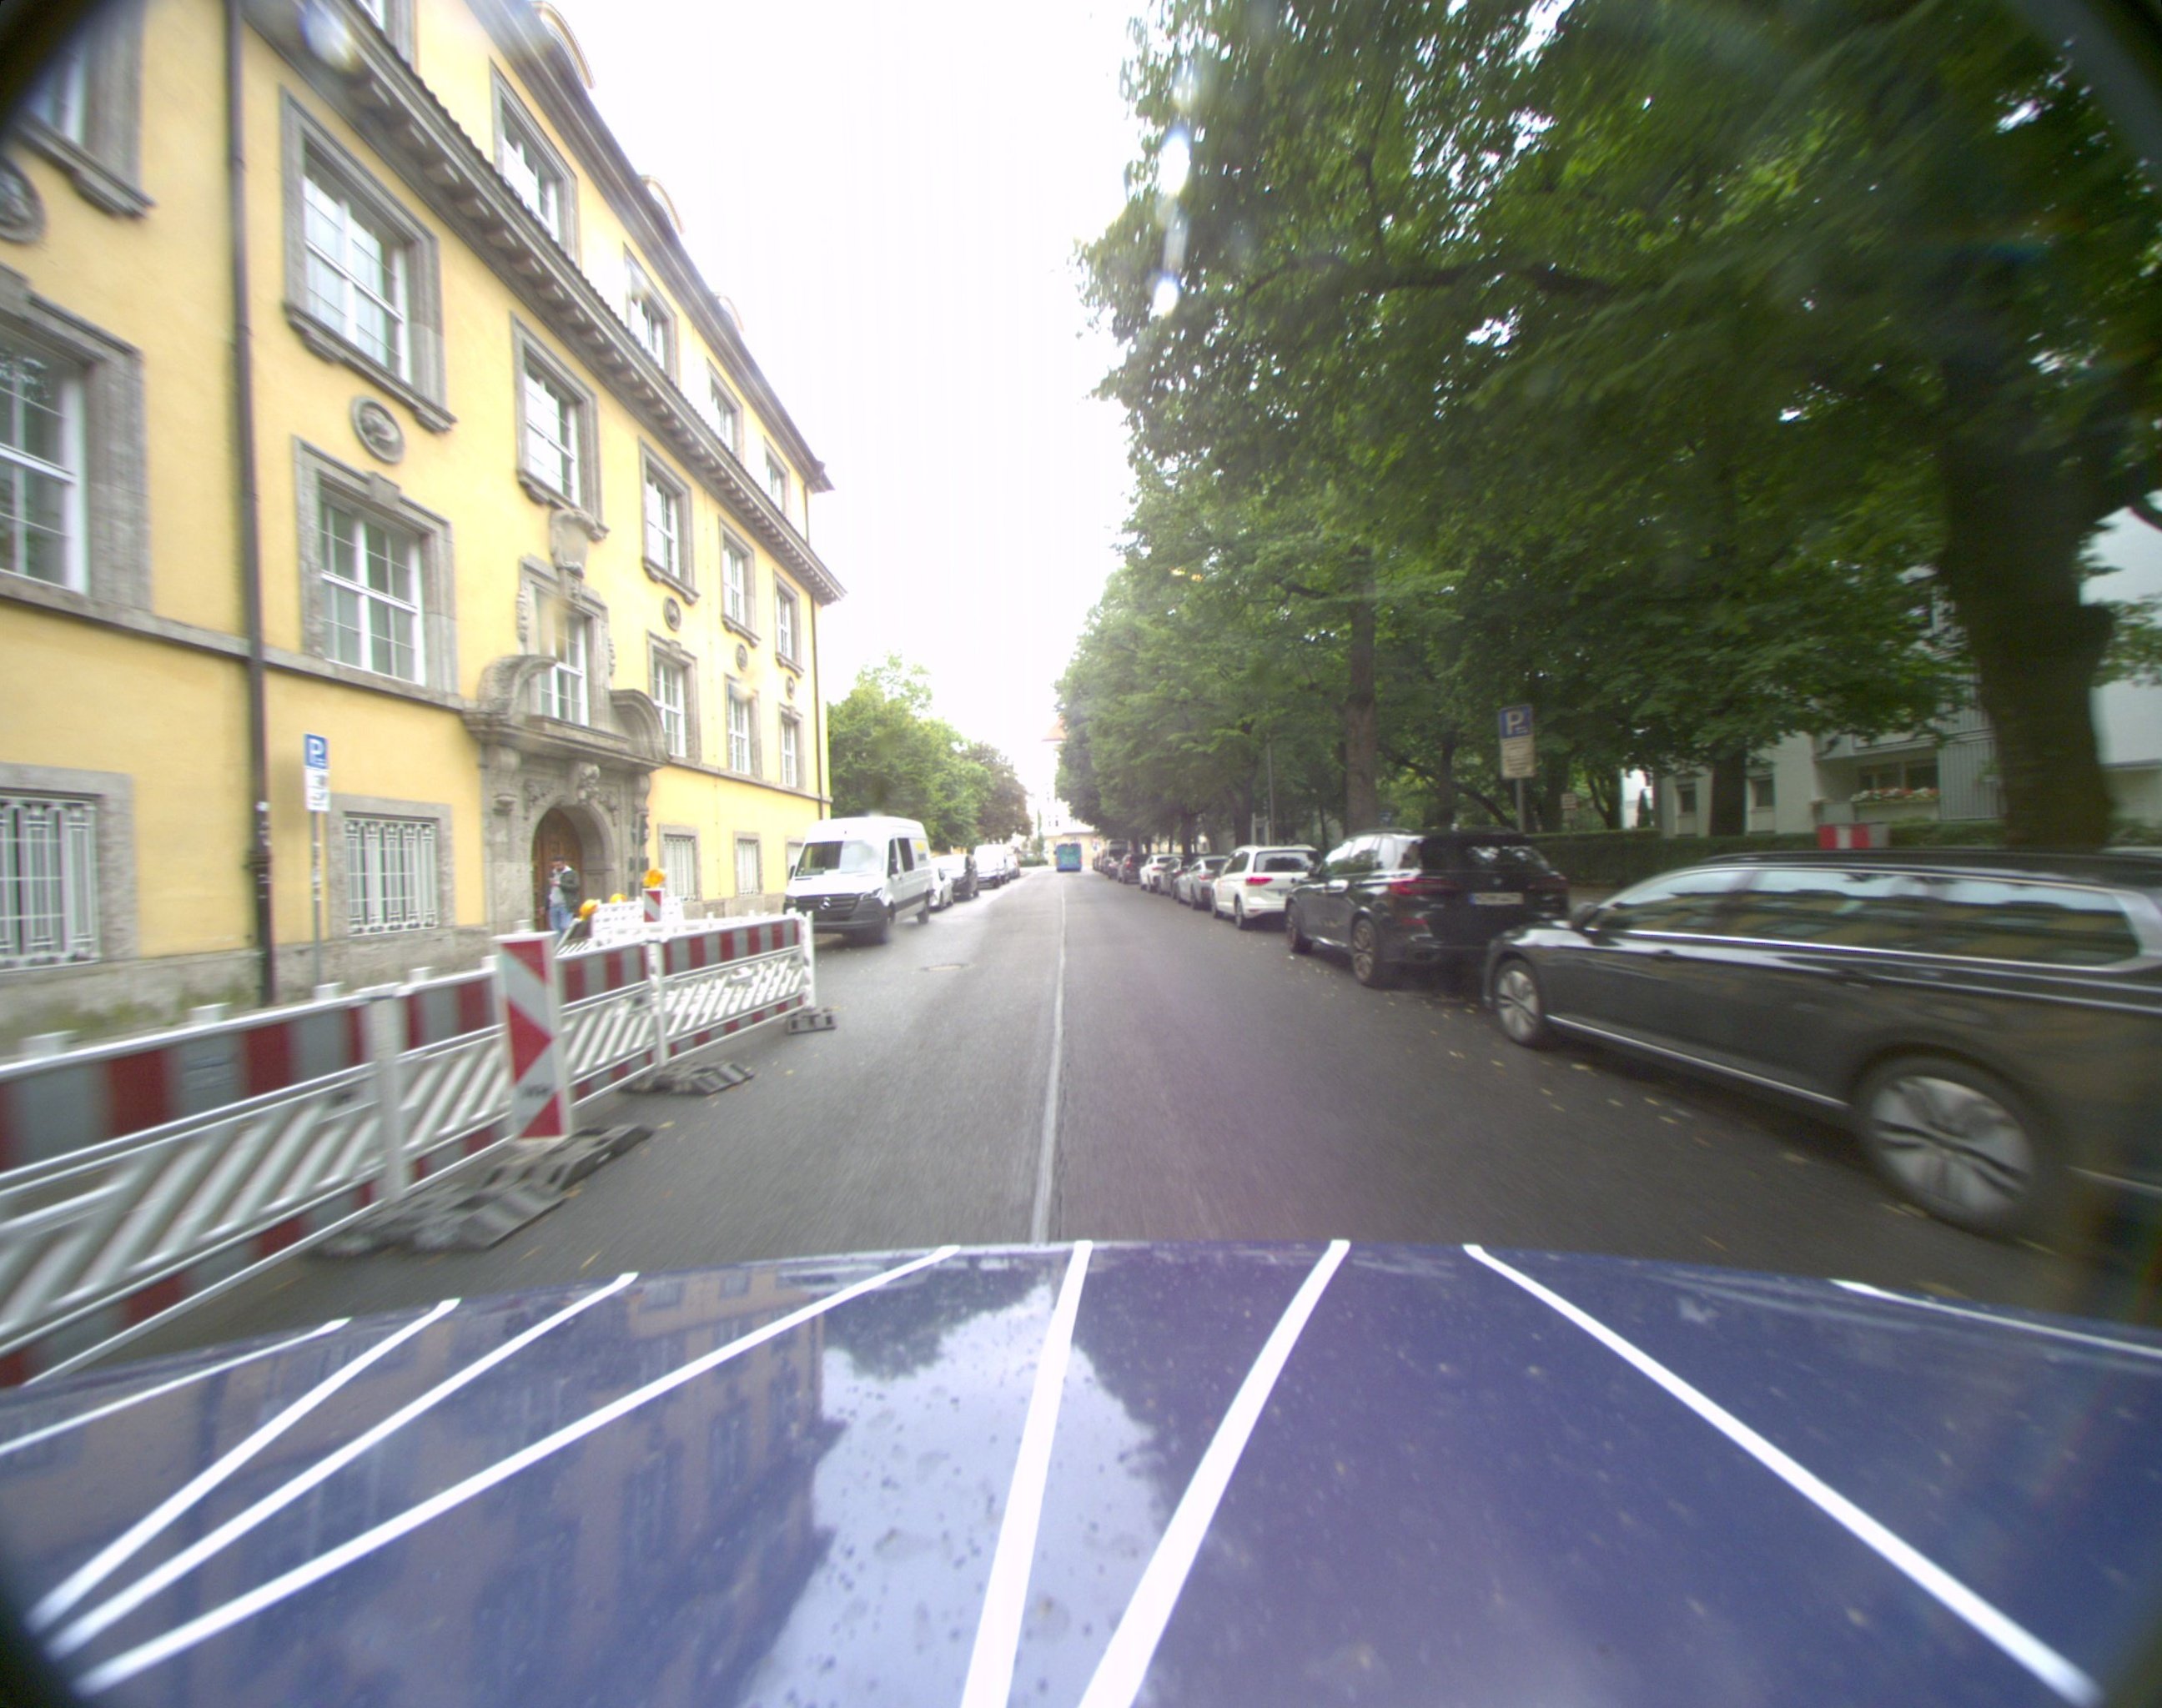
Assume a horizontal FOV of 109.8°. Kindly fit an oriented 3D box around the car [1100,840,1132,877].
[{"bbox_3d":[2.885,0.322,63.693,1.950,2.838,6.233,-2,1,-3],"label":"car"}]

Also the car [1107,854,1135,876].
[{"bbox_3d":[2.663,0.727,51.782,1.794,1.429,4.552,-2,0,2],"label":"car"}]

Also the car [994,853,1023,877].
[{"bbox_3d":[-5.738,0.857,60.586,1.864,1.731,4.601,-3,0,-2],"label":"car"}]

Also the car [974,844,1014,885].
[{"bbox_3d":[-5.679,0.602,50.066,2.101,2.473,5.737,-2,1,-2],"label":"car"}]

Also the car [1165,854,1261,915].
[{"bbox_3d":[3.708,0.782,22.199,1.814,1.461,4.996,-2,1,-1],"label":"car"}]

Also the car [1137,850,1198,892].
[{"bbox_3d":[3.573,0.660,32.218,1.789,1.588,4.583,-2,1,-3],"label":"car"}]

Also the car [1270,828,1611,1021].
[{"bbox_3d":[3.988,0.643,9.598,1.998,1.786,4.920,-1,1,0],"label":"car"}]

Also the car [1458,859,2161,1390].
[{"bbox_3d":[4.035,0.815,4.028,1.723,1.442,4.695,-2,0,0],"label":"car"}]

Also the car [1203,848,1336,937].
[{"bbox_3d":[3.830,0.694,16.238,1.770,1.612,4.522,0,1,1],"label":"car"}]

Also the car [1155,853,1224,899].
[{"bbox_3d":[3.819,0.735,27.442,1.677,1.461,4.102,-2,1,-3],"label":"car"}]

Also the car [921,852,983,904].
[{"bbox_3d":[-5.219,0.907,31.324,1.876,1.858,4.985,-2,1,-3],"label":"car"}]

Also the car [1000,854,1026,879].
[{"bbox_3d":[-5.924,1.067,66.677,1.864,1.956,5.443,-2,1,-2],"label":"car"}]

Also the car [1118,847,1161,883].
[{"bbox_3d":[3.170,0.583,41.965,1.789,1.866,4.547,-1,0,-3],"label":"car"}]

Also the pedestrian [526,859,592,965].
[{"bbox_3d":[-9.094,0.989,13.265,0.702,1.794,0.582,0,2,-2],"label":"pedestrian"}]

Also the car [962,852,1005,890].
[{"bbox_3d":[-5.436,0.916,42.805,2.019,1.895,5.161,-4,0,-4],"label":"car"}]

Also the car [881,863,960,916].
[{"bbox_3d":[-5.252,1.113,25.448,1.876,1.449,4.253,-2,1,-3],"label":"car"}]

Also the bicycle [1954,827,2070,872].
[{"bbox_3d":[24.664,-0.107,20.189,0.642,1.101,1.902,-3,0,-5],"label":"bicycle"}]

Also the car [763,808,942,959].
[{"bbox_3d":[-4.822,0.498,17.543,2.060,2.657,7.611,-2,1,-3],"label":"car"}]

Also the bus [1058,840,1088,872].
[{"bbox_3d":[-1.110,0.031,86.605,2.867,3.221,18.418,-2,1,-2],"label":"bus"}]
